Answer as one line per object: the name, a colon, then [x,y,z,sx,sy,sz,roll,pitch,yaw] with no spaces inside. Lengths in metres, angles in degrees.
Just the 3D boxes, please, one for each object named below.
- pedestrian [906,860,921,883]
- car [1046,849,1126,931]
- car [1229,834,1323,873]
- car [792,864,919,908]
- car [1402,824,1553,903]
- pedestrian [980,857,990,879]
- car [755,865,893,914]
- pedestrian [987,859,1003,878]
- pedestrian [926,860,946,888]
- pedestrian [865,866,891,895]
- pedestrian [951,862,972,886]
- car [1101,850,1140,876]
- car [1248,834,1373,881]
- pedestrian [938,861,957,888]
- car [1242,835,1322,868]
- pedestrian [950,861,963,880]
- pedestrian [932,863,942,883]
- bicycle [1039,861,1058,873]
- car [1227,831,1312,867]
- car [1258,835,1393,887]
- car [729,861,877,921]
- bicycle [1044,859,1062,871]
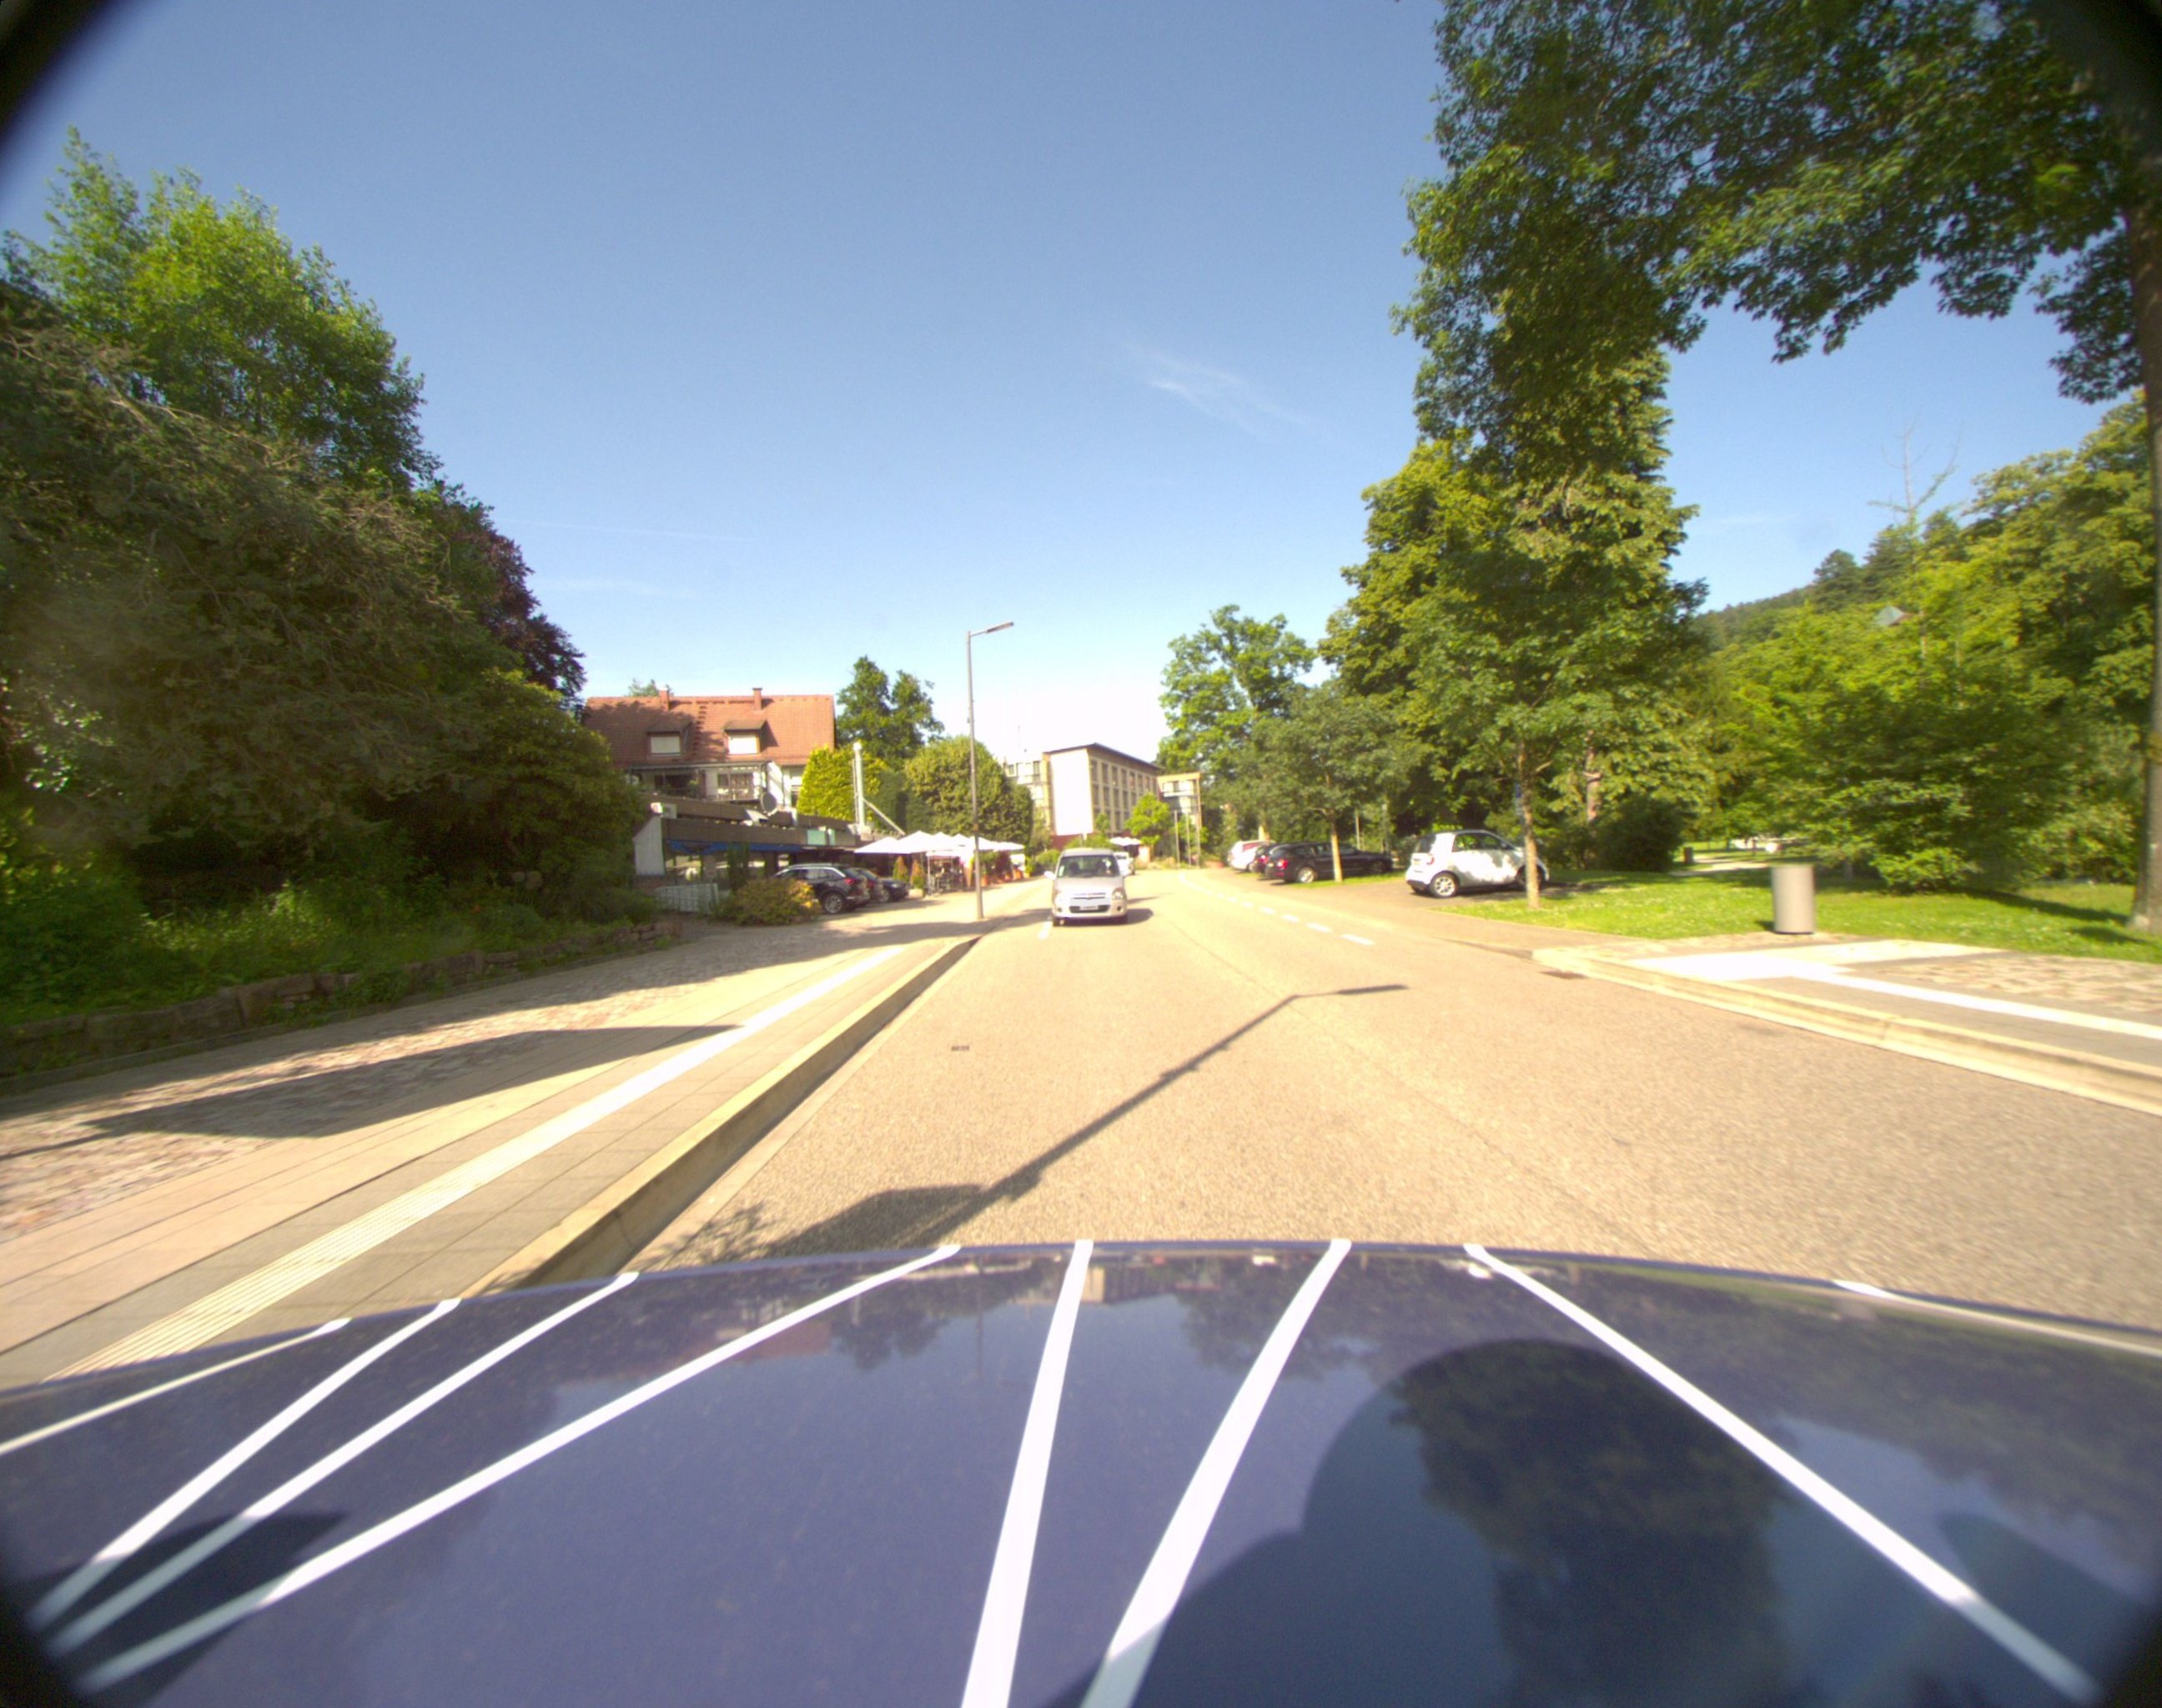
pedestrian: [-9.750,1.036,44.267,0.639,1.297,0.579,-2,1,-35]
car: [0.136,0.746,17.821,1.605,1.628,4.000,-2,1,1]
car: [10.013,-0.042,39.315,4.491,1.409,1.811,-7,1,12]
car: [-8.578,1.206,29.182,4.272,1.371,1.709,-3,1,2]
car: [9.299,0.205,18.019,2.656,1.538,1.683,-5,1,7]
pedestrian: [-5.675,0.816,44.966,0.473,1.238,0.592,-2,2,-14]
car: [-8.884,1.210,26.501,4.119,1.407,1.748,-3,1,2]
pedestrian: [-5.790,0.969,51.035,0.950,1.277,0.645,-2,1,0]
pedestrian: [-7.286,0.999,38.234,0.701,1.373,0.810,-3,1,-29]
pedestrian: [-9.132,1.183,34.229,0.699,1.254,0.814,-2,1,28]
pedestrian: [-6.578,1.089,41.818,0.810,1.254,0.701,-2,1,20]
car: [2.512,0.545,47.607,1.739,1.488,3.933,-2,-1,12]
car: [9.384,0.140,31.277,4.505,1.501,1.713,-5,1,0]
pedestrian: [-6.465,1.007,36.933,0.812,1.254,0.700,-3,1,-7]
car: [11.127,-0.140,42.303,3.995,1.424,1.720,-5,1,7]
pedestrian: [-8.278,1.123,50.651,0.507,1.224,0.700,-2,1,21]
pedestrian: [-9.124,1.215,48.197,0.409,1.260,0.509,-2,1,12]
bicycle: [-2.555,1.034,59.955,1.543,0.904,0.385,0,1,35]
car: [11.062,-0.292,44.839,4.493,1.654,1.810,-6,1,3]
car: [8.896,0.240,27.831,4.288,1.423,1.712,-5,1,-5]
car: [-8.543,1.120,23.584,3.886,1.571,1.748,-3,1,-3]
bicycle: [-2.258,0.883,60.840,1.543,0.977,0.385,-1,1,35]
